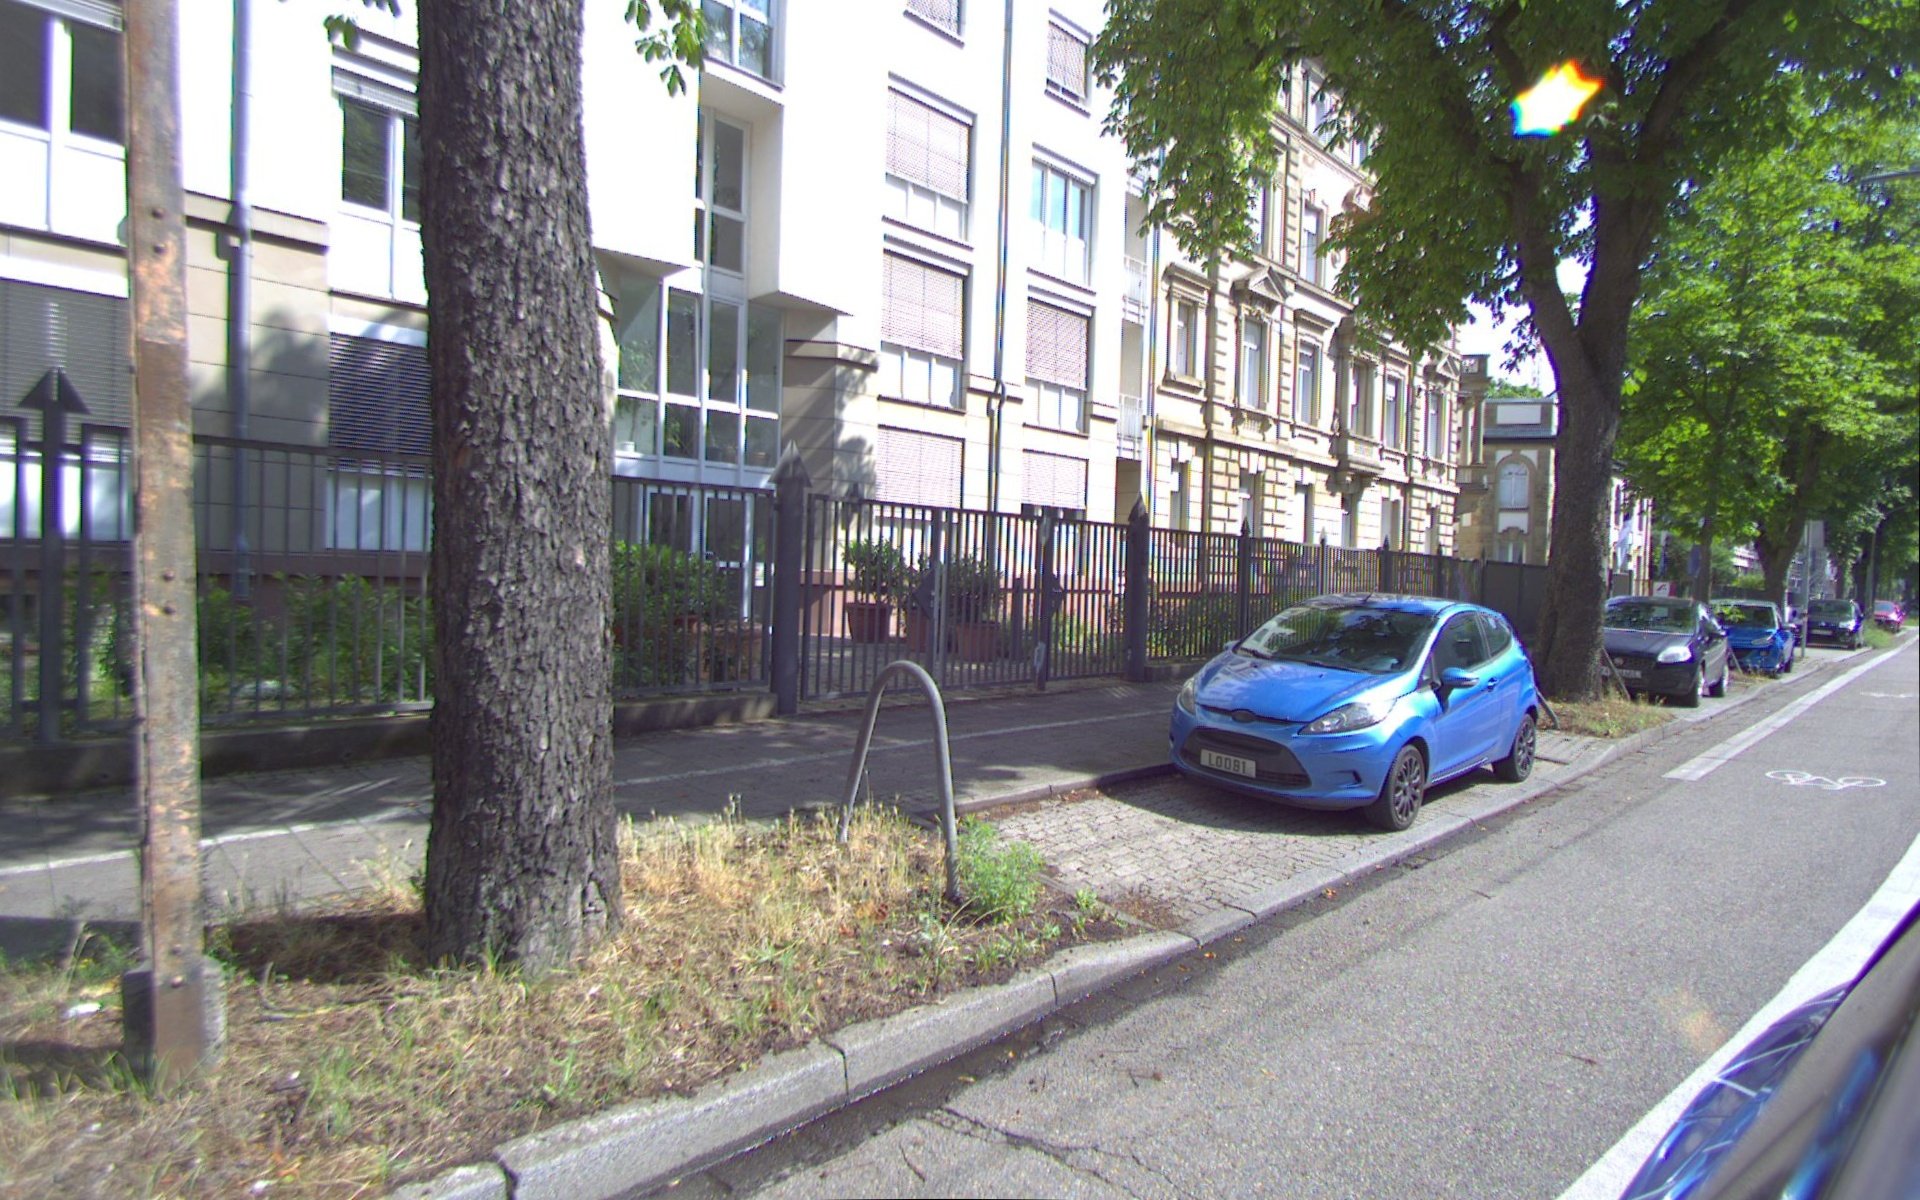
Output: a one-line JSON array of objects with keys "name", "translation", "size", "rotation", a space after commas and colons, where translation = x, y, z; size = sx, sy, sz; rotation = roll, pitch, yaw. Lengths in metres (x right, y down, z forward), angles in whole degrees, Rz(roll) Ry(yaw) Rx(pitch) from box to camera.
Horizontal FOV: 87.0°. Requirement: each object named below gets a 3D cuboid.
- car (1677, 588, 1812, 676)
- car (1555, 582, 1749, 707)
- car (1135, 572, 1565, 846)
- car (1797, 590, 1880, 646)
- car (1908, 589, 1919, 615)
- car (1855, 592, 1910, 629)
[{"name": "car", "translation": [16.045, 0.581, 20.634], "size": [1.676, 1.493, 3.602], "rotation": [7, 5, 44]}, {"name": "car", "translation": [10.288, 0.560, 14.948], "size": [1.676, 1.493, 3.602], "rotation": [7, 5, 44]}, {"name": "car", "translation": [3.120, 0.625, 7.758], "size": [3.601, 1.493, 1.645], "rotation": [0, 5, -44]}, {"name": "car", "translation": [29.083, 0.557, 33.474], "size": [1.741, 1.592, 3.602], "rotation": [7, 5, 44]}, {"name": "car", "translation": [62.982, 0.176, 65.854], "size": [1.741, 1.592, 3.867], "rotation": [7, 5, 44]}, {"name": "car", "translation": [45.092, 0.498, 49.461], "size": [1.741, 1.592, 3.867], "rotation": [7, 5, 44]}]
